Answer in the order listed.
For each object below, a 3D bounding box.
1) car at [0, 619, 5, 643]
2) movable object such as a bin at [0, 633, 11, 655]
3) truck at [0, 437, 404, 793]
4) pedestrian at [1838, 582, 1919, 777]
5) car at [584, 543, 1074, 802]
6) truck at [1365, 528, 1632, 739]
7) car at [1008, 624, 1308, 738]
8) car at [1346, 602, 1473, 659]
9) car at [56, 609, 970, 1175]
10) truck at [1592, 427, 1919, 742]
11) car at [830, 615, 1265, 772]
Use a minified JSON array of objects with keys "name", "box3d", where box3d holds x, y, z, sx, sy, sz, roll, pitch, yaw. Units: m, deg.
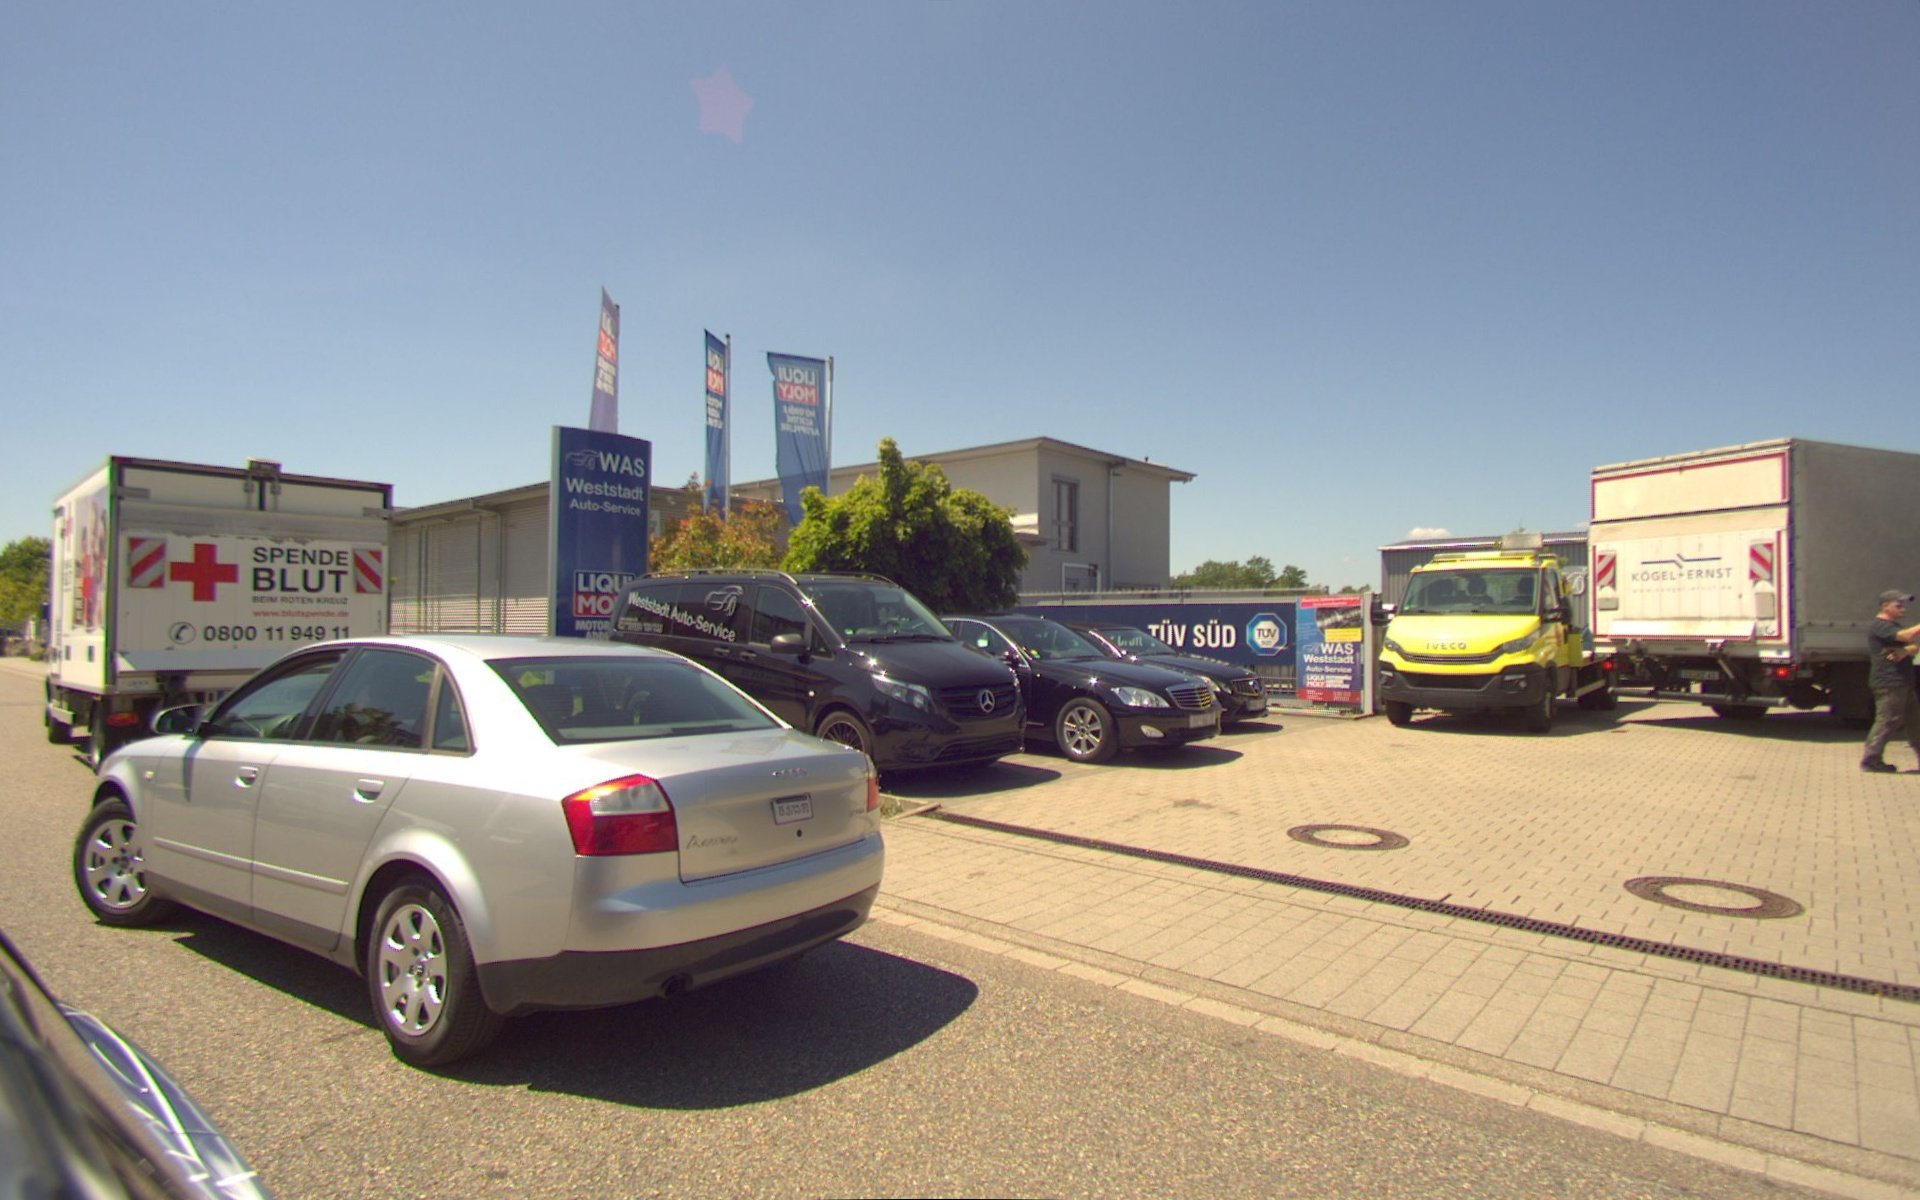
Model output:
[{"name":"car","box3d":[-68.433,2.266,69.382,1.781,1.671,4.120,-1,3,41]},{"name":"movable object such as a bin","box3d":[-43.115,1.981,45.502,0.511,0.957,0.565,-2,-2,36]},{"name":"truck","box3d":[-8.682,0.221,11.206,6.413,2.882,2.336,-1,-4,42]},{"name":"pedestrian","box3d":[9.017,0.712,9.318,0.920,1.739,1.014,-1,-1,0]},{"name":"car","box3d":[-1.558,0.597,10.203,5.216,1.971,1.972,-1,-2,42]},{"name":"truck","box3d":[8.073,0.419,14.809,2.164,2.480,5.892,-2,-1,41]},{"name":"car","box3d":[2.611,1.012,13.843,3.761,1.347,1.572,-1,-2,42]},{"name":"car","box3d":[12.730,0.814,28.483,1.937,1.427,4.703,-1,0,42]},{"name":"car","box3d":[-2.269,0.804,4.607,4.404,1.433,1.767,0,-4,36]},{"name":"truck","box3d":[12.925,-0.189,14.029,7.925,3.584,2.595,-1,-1,-19]},{"name":"car","box3d":[0.814,0.902,11.548,4.767,1.427,1.911,-1,-2,42]}]
